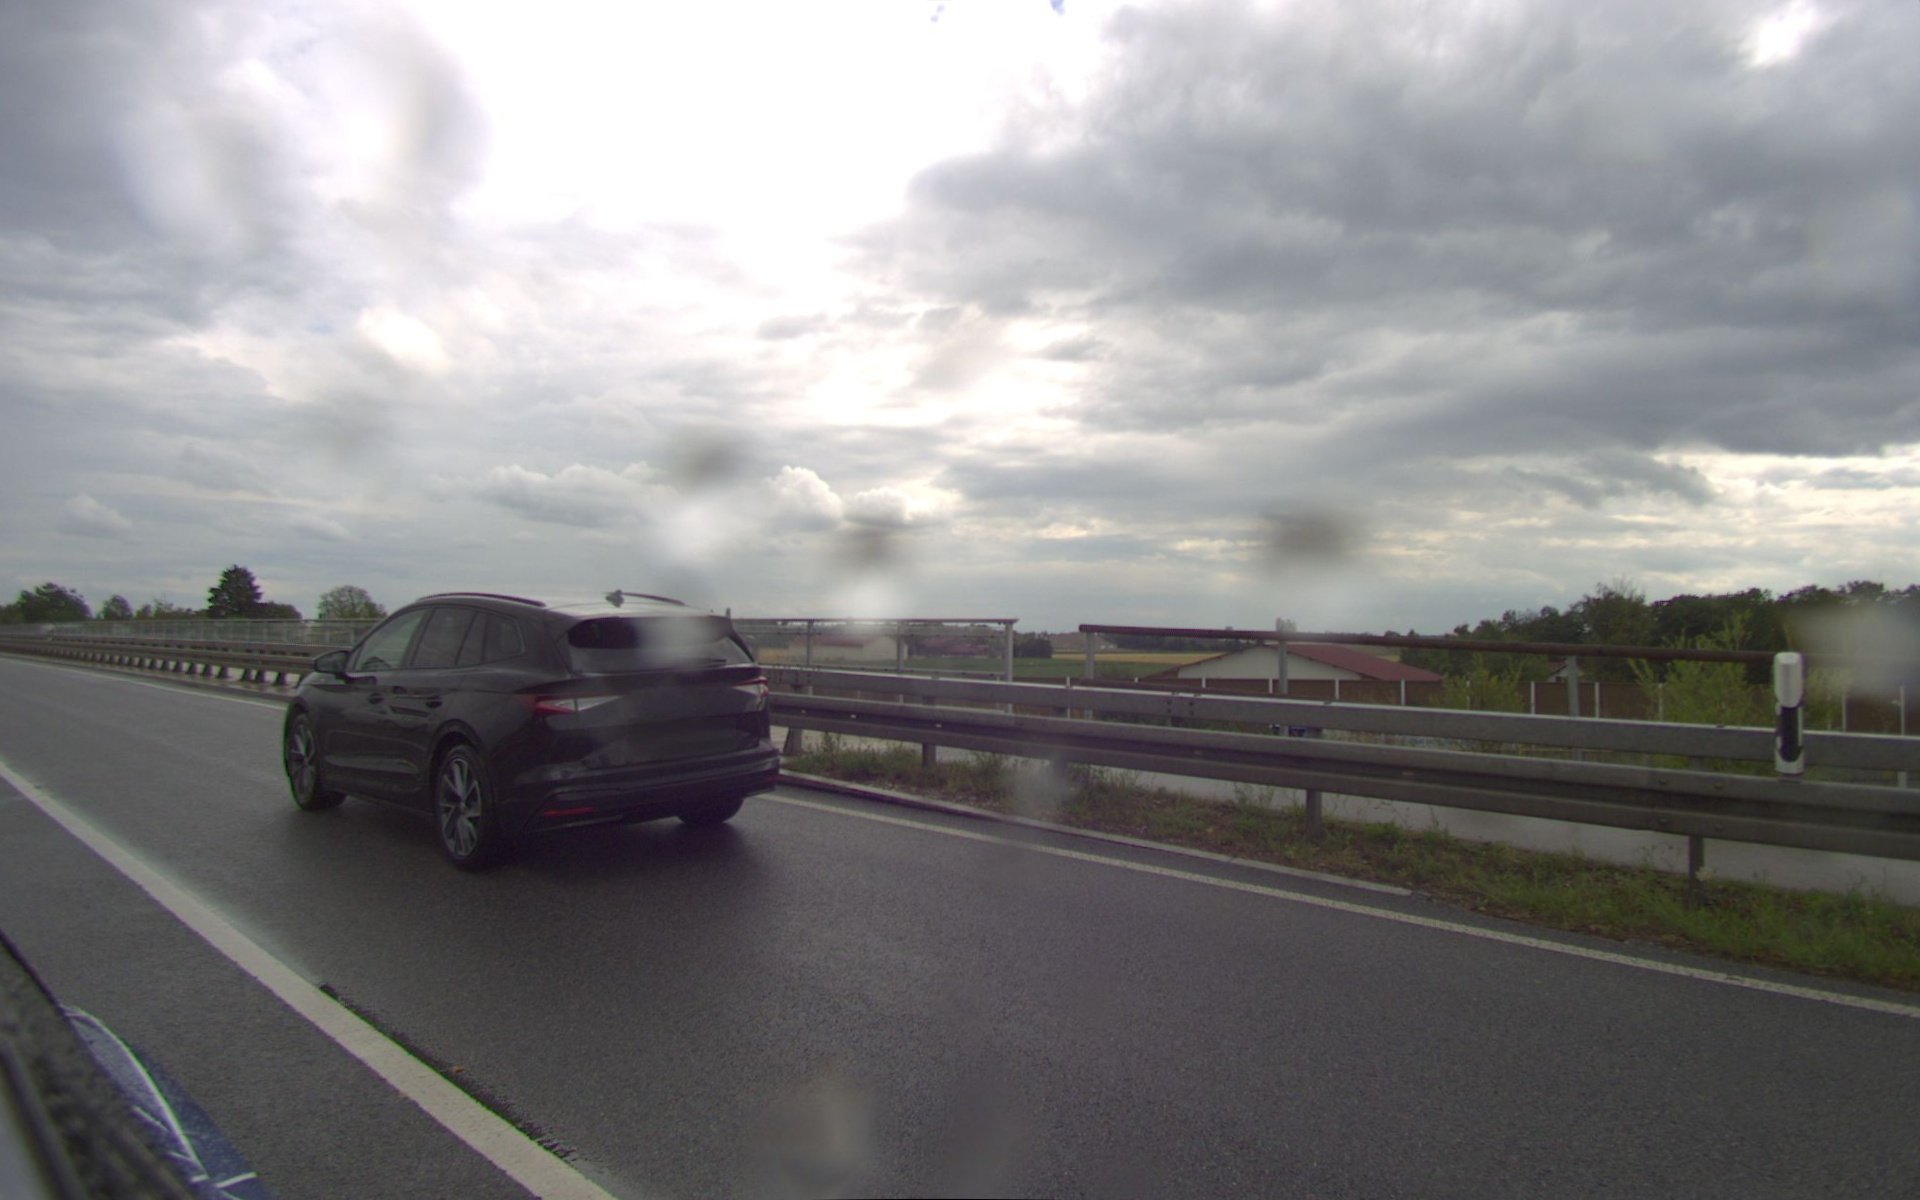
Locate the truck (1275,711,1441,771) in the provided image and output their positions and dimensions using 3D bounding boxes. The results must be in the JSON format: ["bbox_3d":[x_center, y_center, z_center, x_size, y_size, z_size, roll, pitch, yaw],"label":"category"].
[{"bbox_3d":[28.523,10.085,72.671,11.003,3.791,2.439,-1,-1,-3],"label":"truck"}]

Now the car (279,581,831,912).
[{"bbox_3d":[-2.979,0.742,6.917,4.300,1.573,1.761,-1,-1,41],"label":"car"}]

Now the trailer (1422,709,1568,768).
[{"bbox_3d":[38.653,9.967,73.286,9.317,3.791,2.439,-1,-1,-3],"label":"trailer"}]
